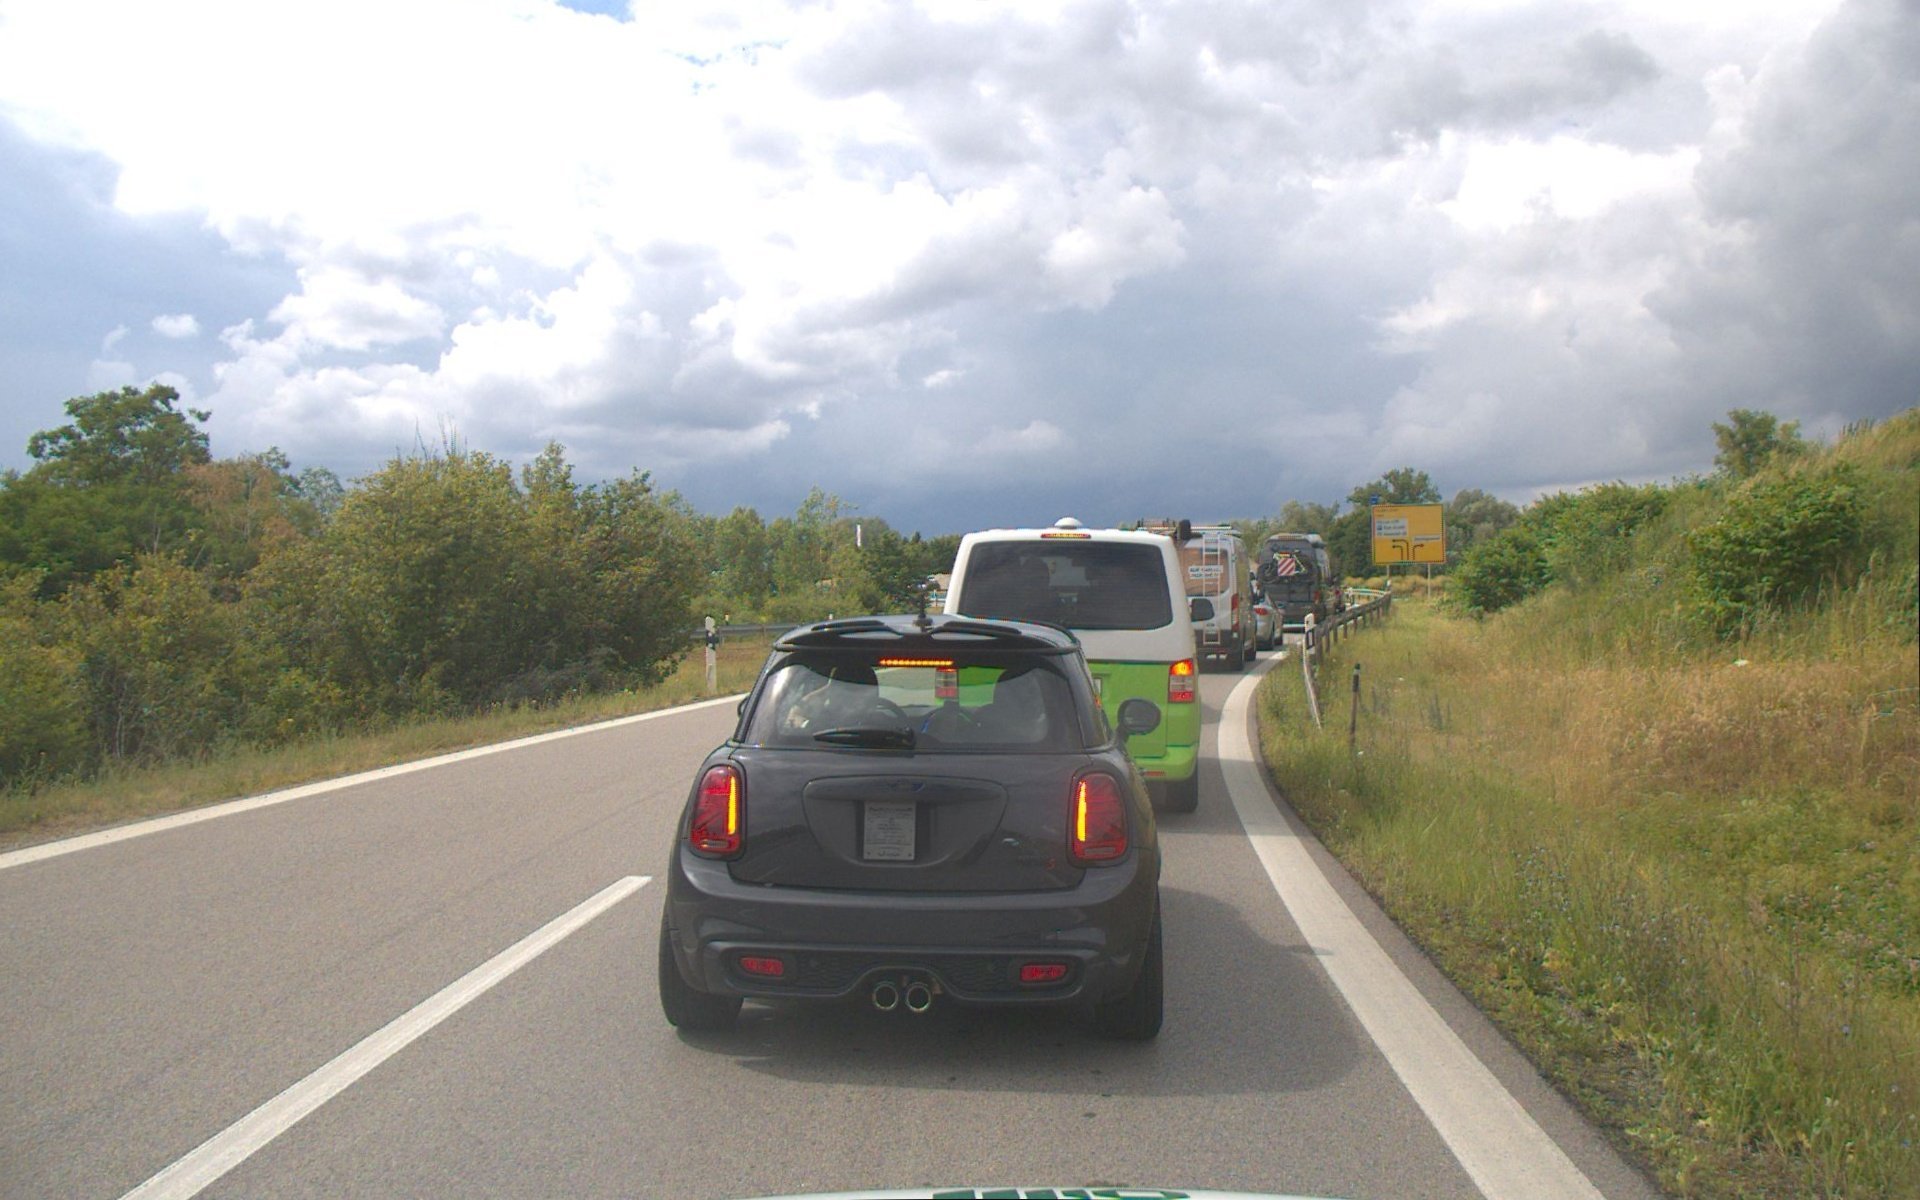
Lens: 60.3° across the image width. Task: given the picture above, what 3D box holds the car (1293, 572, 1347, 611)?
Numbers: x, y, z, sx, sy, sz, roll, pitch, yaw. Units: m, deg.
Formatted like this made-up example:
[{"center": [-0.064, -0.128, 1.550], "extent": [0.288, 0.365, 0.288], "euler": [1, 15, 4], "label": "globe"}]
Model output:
[{"center": [15.505, -0.350, 71.078], "extent": [1.853, 1.616, 4.497], "euler": [1, 0, 18], "label": "car"}]

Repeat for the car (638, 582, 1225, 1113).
[{"center": [0.013, 0.726, 6.853], "extent": [1.762, 1.573, 3.740], "euler": [0, 0, 3], "label": "car"}]

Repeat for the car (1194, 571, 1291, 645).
[{"center": [6.866, 0.200, 39.964], "extent": [1.951, 1.671, 3.931], "euler": [1, 0, 15], "label": "car"}]

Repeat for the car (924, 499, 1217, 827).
[{"center": [0.980, 0.390, 12.688], "extent": [1.870, 2.081, 4.184], "euler": [0, 0, 8], "label": "car"}]

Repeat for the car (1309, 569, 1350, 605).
[{"center": [20.879, -0.703, 93.537], "extent": [2.050, 1.916, 4.499], "euler": [1, 0, 10], "label": "car"}]

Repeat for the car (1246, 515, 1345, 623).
[{"center": [10.485, -0.883, 51.328], "extent": [2.262, 3.122, 6.665], "euler": [1, 0, 18], "label": "car"}]

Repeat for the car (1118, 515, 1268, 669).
[{"center": [4.566, -0.124, 31.646], "extent": [2.165, 2.668, 5.538], "euler": [1, 0, 15], "label": "car"}]

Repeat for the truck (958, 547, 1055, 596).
[{"center": [3.946, -2.441, 144.277], "extent": [2.816, 4.045, 9.893], "euler": [1, 0, -38], "label": "truck"}]

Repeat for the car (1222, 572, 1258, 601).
[{"center": [19.352, -0.898, 114.409], "extent": [2.051, 1.916, 4.497], "euler": [1, 0, 4], "label": "car"}]

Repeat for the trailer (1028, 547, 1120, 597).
[{"center": [9.340, -2.284, 136.777], "extent": [3.008, 3.966, 8.673], "euler": [1, 0, -33], "label": "trailer"}]
